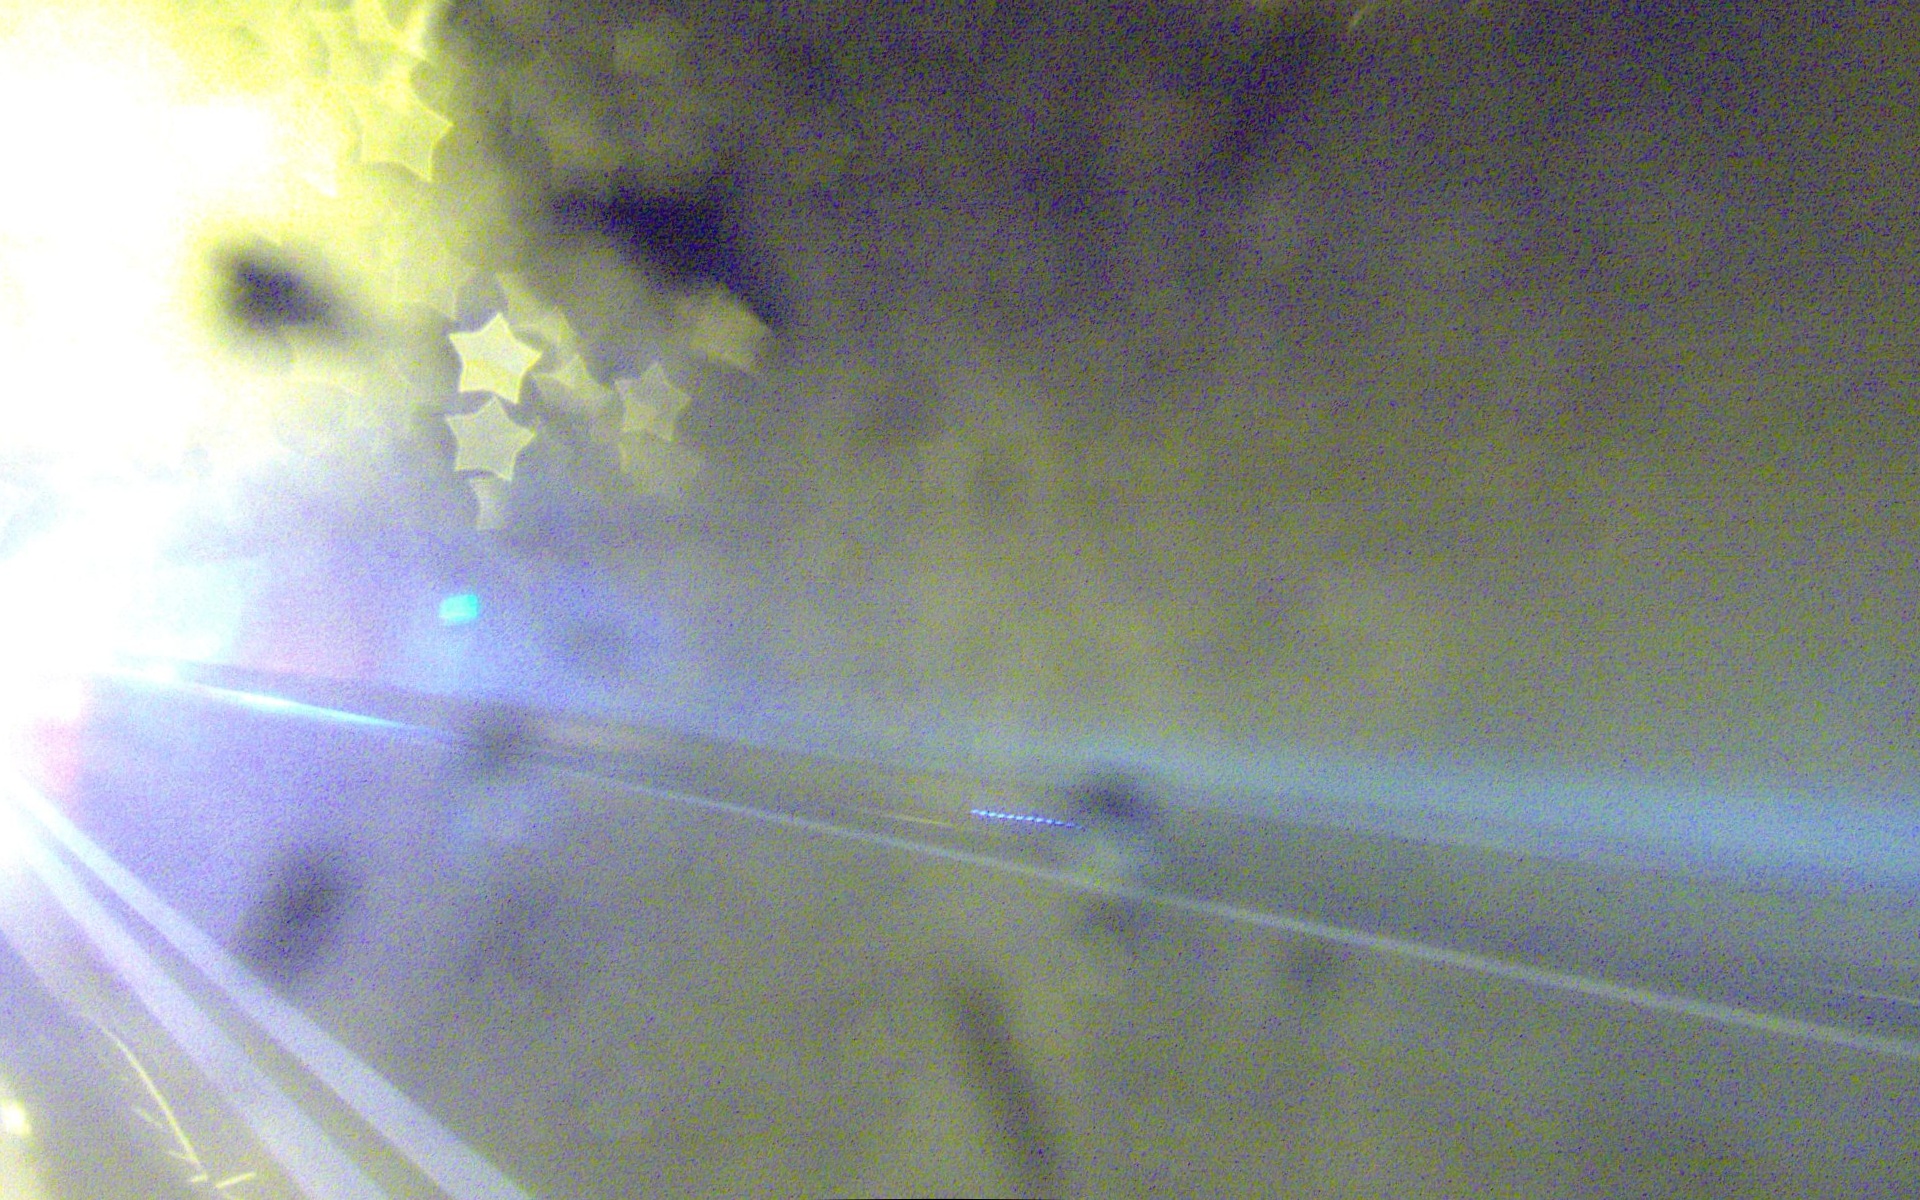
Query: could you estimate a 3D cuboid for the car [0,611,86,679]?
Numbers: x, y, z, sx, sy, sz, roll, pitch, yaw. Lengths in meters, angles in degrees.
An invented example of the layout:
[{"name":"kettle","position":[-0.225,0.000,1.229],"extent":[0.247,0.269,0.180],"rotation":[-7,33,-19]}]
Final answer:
[{"name":"car","position":[-22.390,1.047,24.137],"extent":[4.199,1.493,1.794],"rotation":[-2,-1,41]}]
